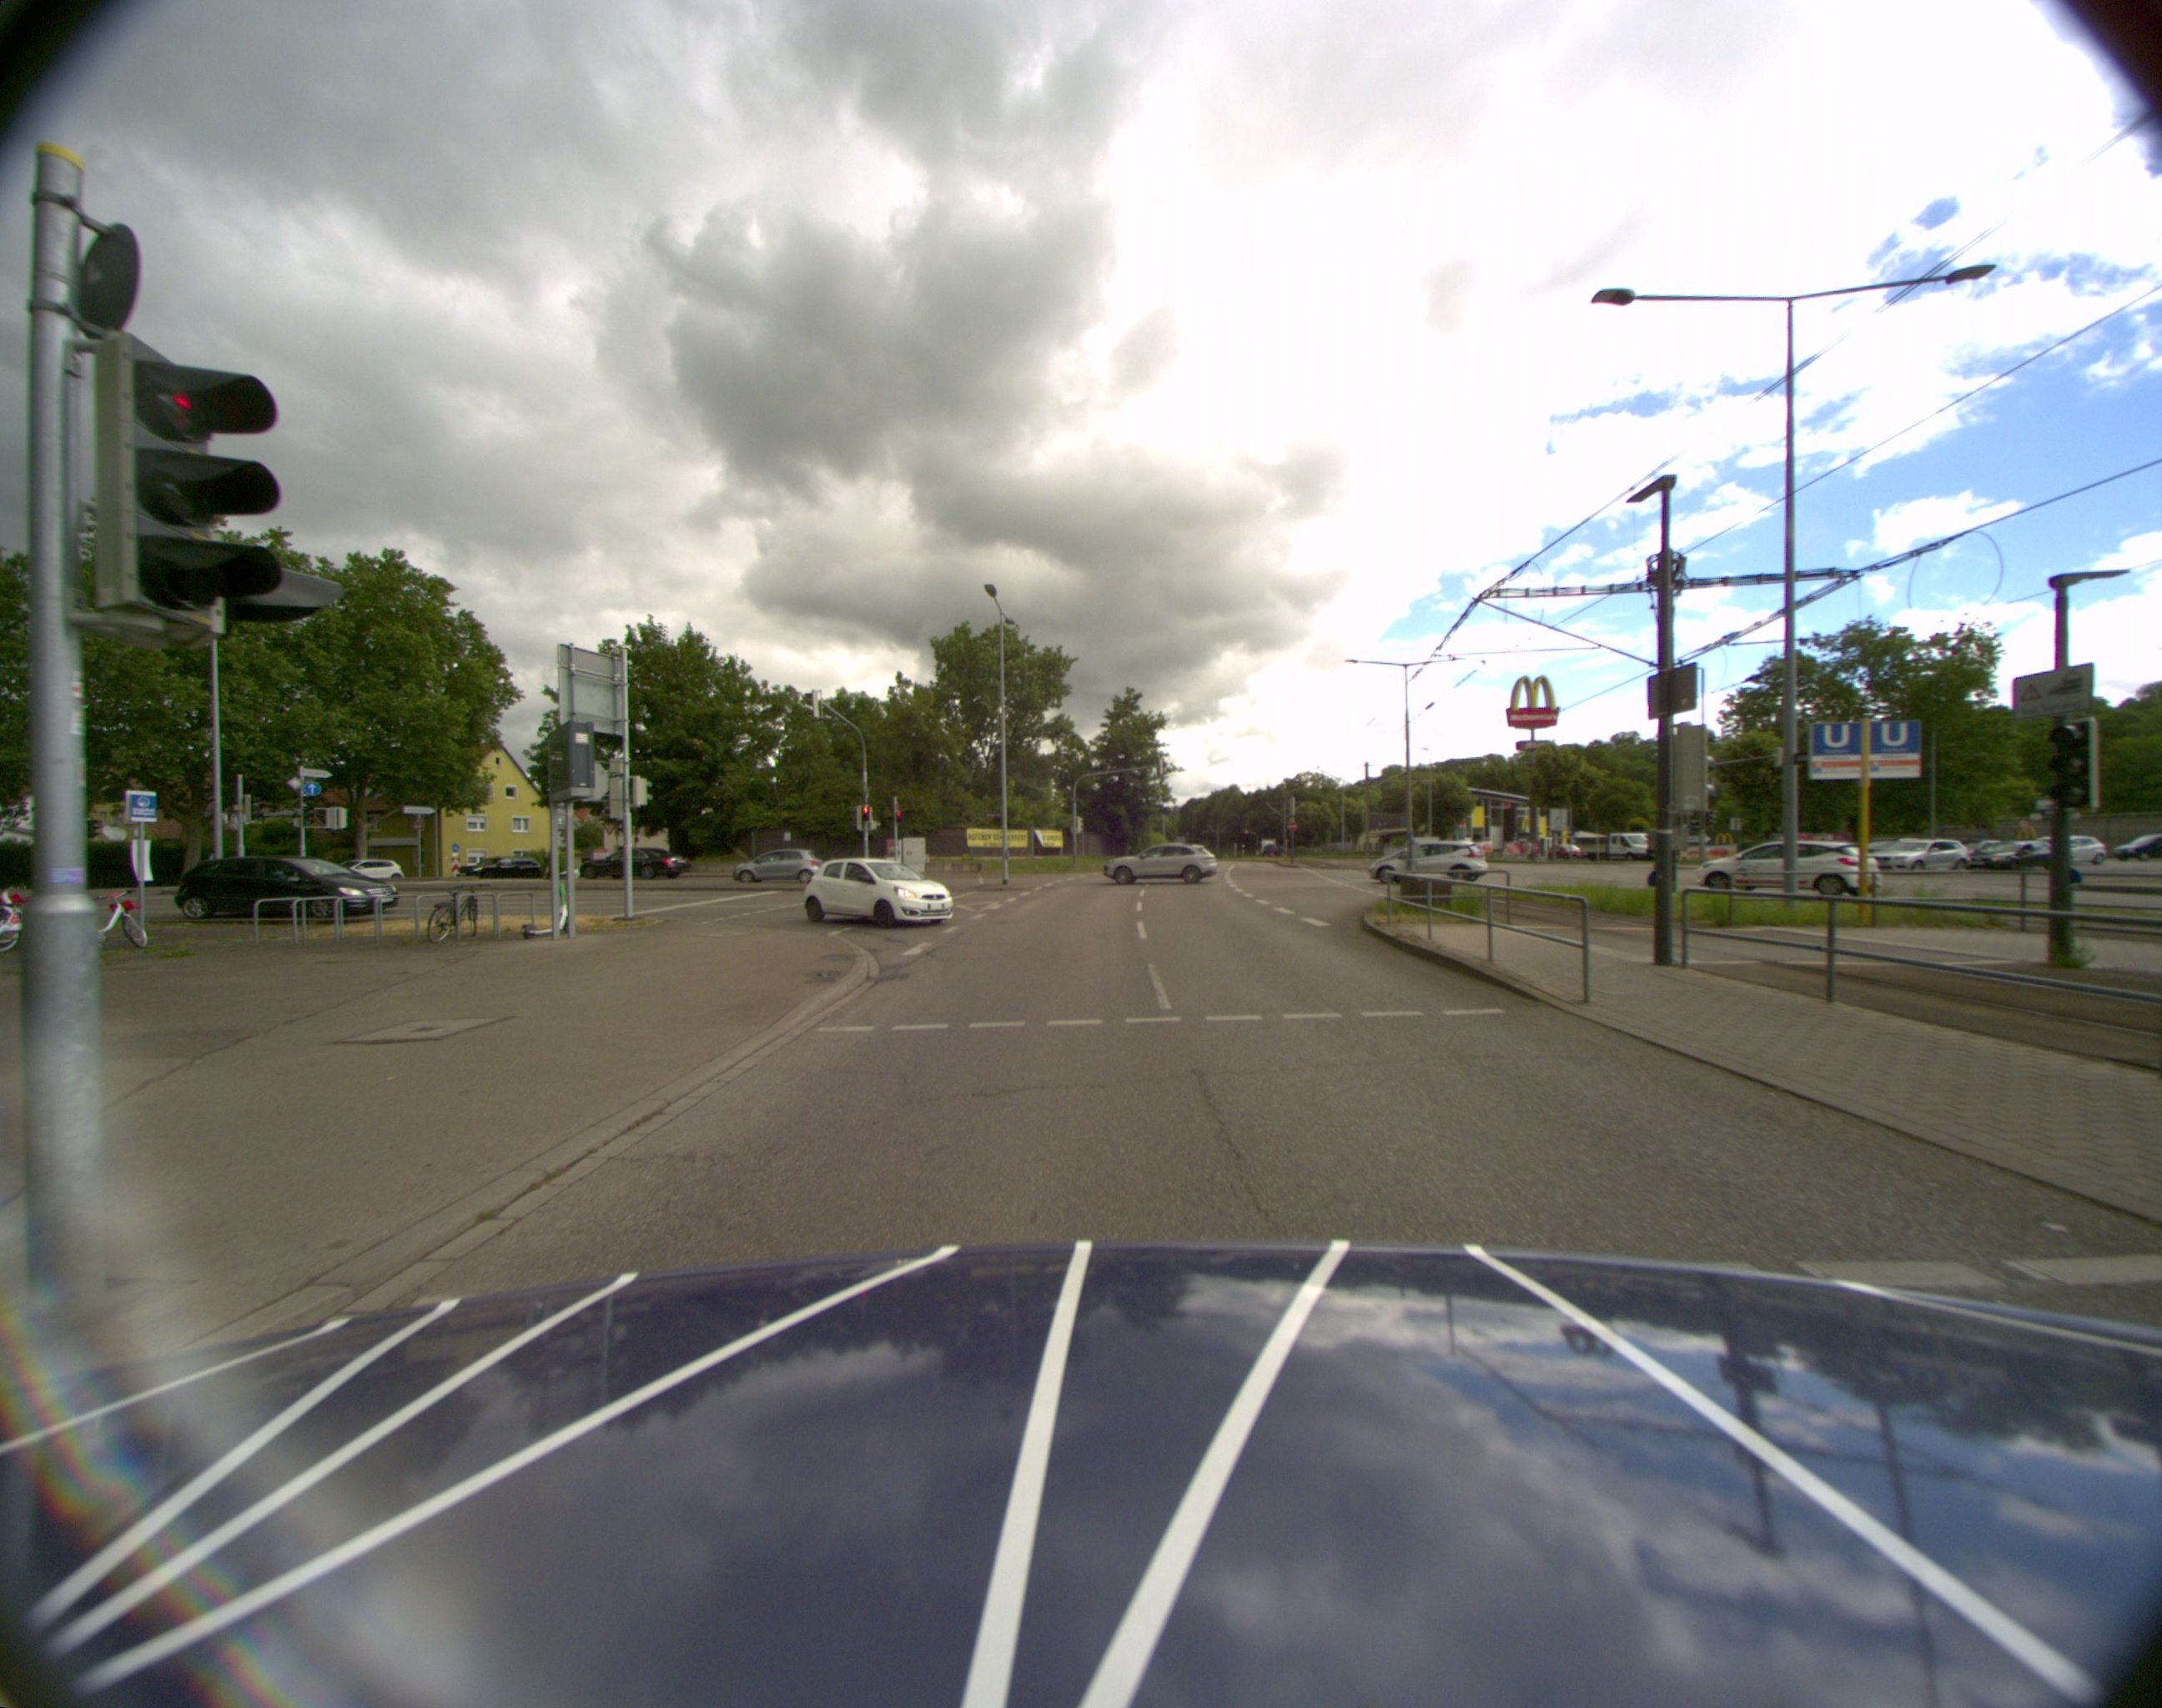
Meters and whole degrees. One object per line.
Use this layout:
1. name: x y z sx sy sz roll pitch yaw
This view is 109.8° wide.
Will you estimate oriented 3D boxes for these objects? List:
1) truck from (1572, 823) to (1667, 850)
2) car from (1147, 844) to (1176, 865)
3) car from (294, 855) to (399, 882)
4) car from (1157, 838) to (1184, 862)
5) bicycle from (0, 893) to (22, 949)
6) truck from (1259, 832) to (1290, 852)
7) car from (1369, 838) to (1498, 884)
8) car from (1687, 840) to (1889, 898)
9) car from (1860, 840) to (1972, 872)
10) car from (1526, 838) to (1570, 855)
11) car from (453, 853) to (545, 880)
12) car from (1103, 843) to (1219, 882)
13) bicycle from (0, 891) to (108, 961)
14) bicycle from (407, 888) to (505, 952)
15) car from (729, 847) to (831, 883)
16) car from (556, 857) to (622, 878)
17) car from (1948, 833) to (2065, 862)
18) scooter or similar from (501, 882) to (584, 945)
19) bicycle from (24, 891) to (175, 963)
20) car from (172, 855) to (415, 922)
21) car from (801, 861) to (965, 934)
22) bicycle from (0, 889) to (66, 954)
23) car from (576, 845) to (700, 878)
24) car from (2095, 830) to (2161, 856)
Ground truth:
1. truck: 39.448 -1.278 55.958 2.599 1.894 6.196 1 1 0
2. car: 5.856 0.001 54.890 1.718 1.410 4.003 1 1 11
3. car: -40.118 0.750 41.624 1.809 1.313 3.805 -1 1 9
4. car: 7.267 -0.335 61.281 1.807 1.815 4.003 0 1 12
5. bicycle: -20.938 1.297 13.870 0.597 1.046 1.883 0 1 -3
6. truck: 35.332 -2.184 139.175 3.435 3.539 8.698 1 1 1
7. car: 13.258 0.235 28.685 4.112 1.632 1.754 0 1 39
8. car: 19.645 0.356 21.316 1.634 1.446 3.821 -1 1 -24
9. car: 41.211 0.080 37.534 4.419 1.424 1.794 -1 1 -13
10. car: 45.131 -0.737 73.496 1.923 1.512 4.000 1 1 2
11. car: -38.240 0.783 50.084 1.809 1.642 4.596 -1 1 15
12. car: 3.497 0.350 33.062 4.846 1.633 1.678 0 1 14
13. bicycle: -19.308 1.295 13.996 0.582 1.110 1.812 1 1 -7
14. bicycle: -11.893 1.222 14.530 0.608 1.039 1.699 -1 1 -7
15. car: -13.119 0.465 33.274 3.788 1.479 1.675 -1 1 -6
16. car: -36.475 0.957 56.394 1.659 1.390 3.884 1 1 19
17. car: 46.888 -0.340 38.531 4.284 1.424 1.794 -1 1 -9
18. scooter or similar: -10.365 1.125 14.661 0.654 1.105 1.231 -1 1 3
19. bicycle: -17.946 1.307 13.970 0.582 1.110 1.812 1 1 -7
20. car: -20.467 0.861 19.933 4.186 1.523 1.719 -1 4 -8
21. car: -4.546 0.903 17.284 3.594 1.440 1.678 0 1 36
22. bicycle: -20.084 1.267 13.967 0.582 1.110 1.812 1 1 -7
23. car: -21.122 0.349 36.302 4.988 1.442 1.832 1 1 7
24. car: 65.191 -0.668 46.368 3.630 1.546 1.731 1 2 38
